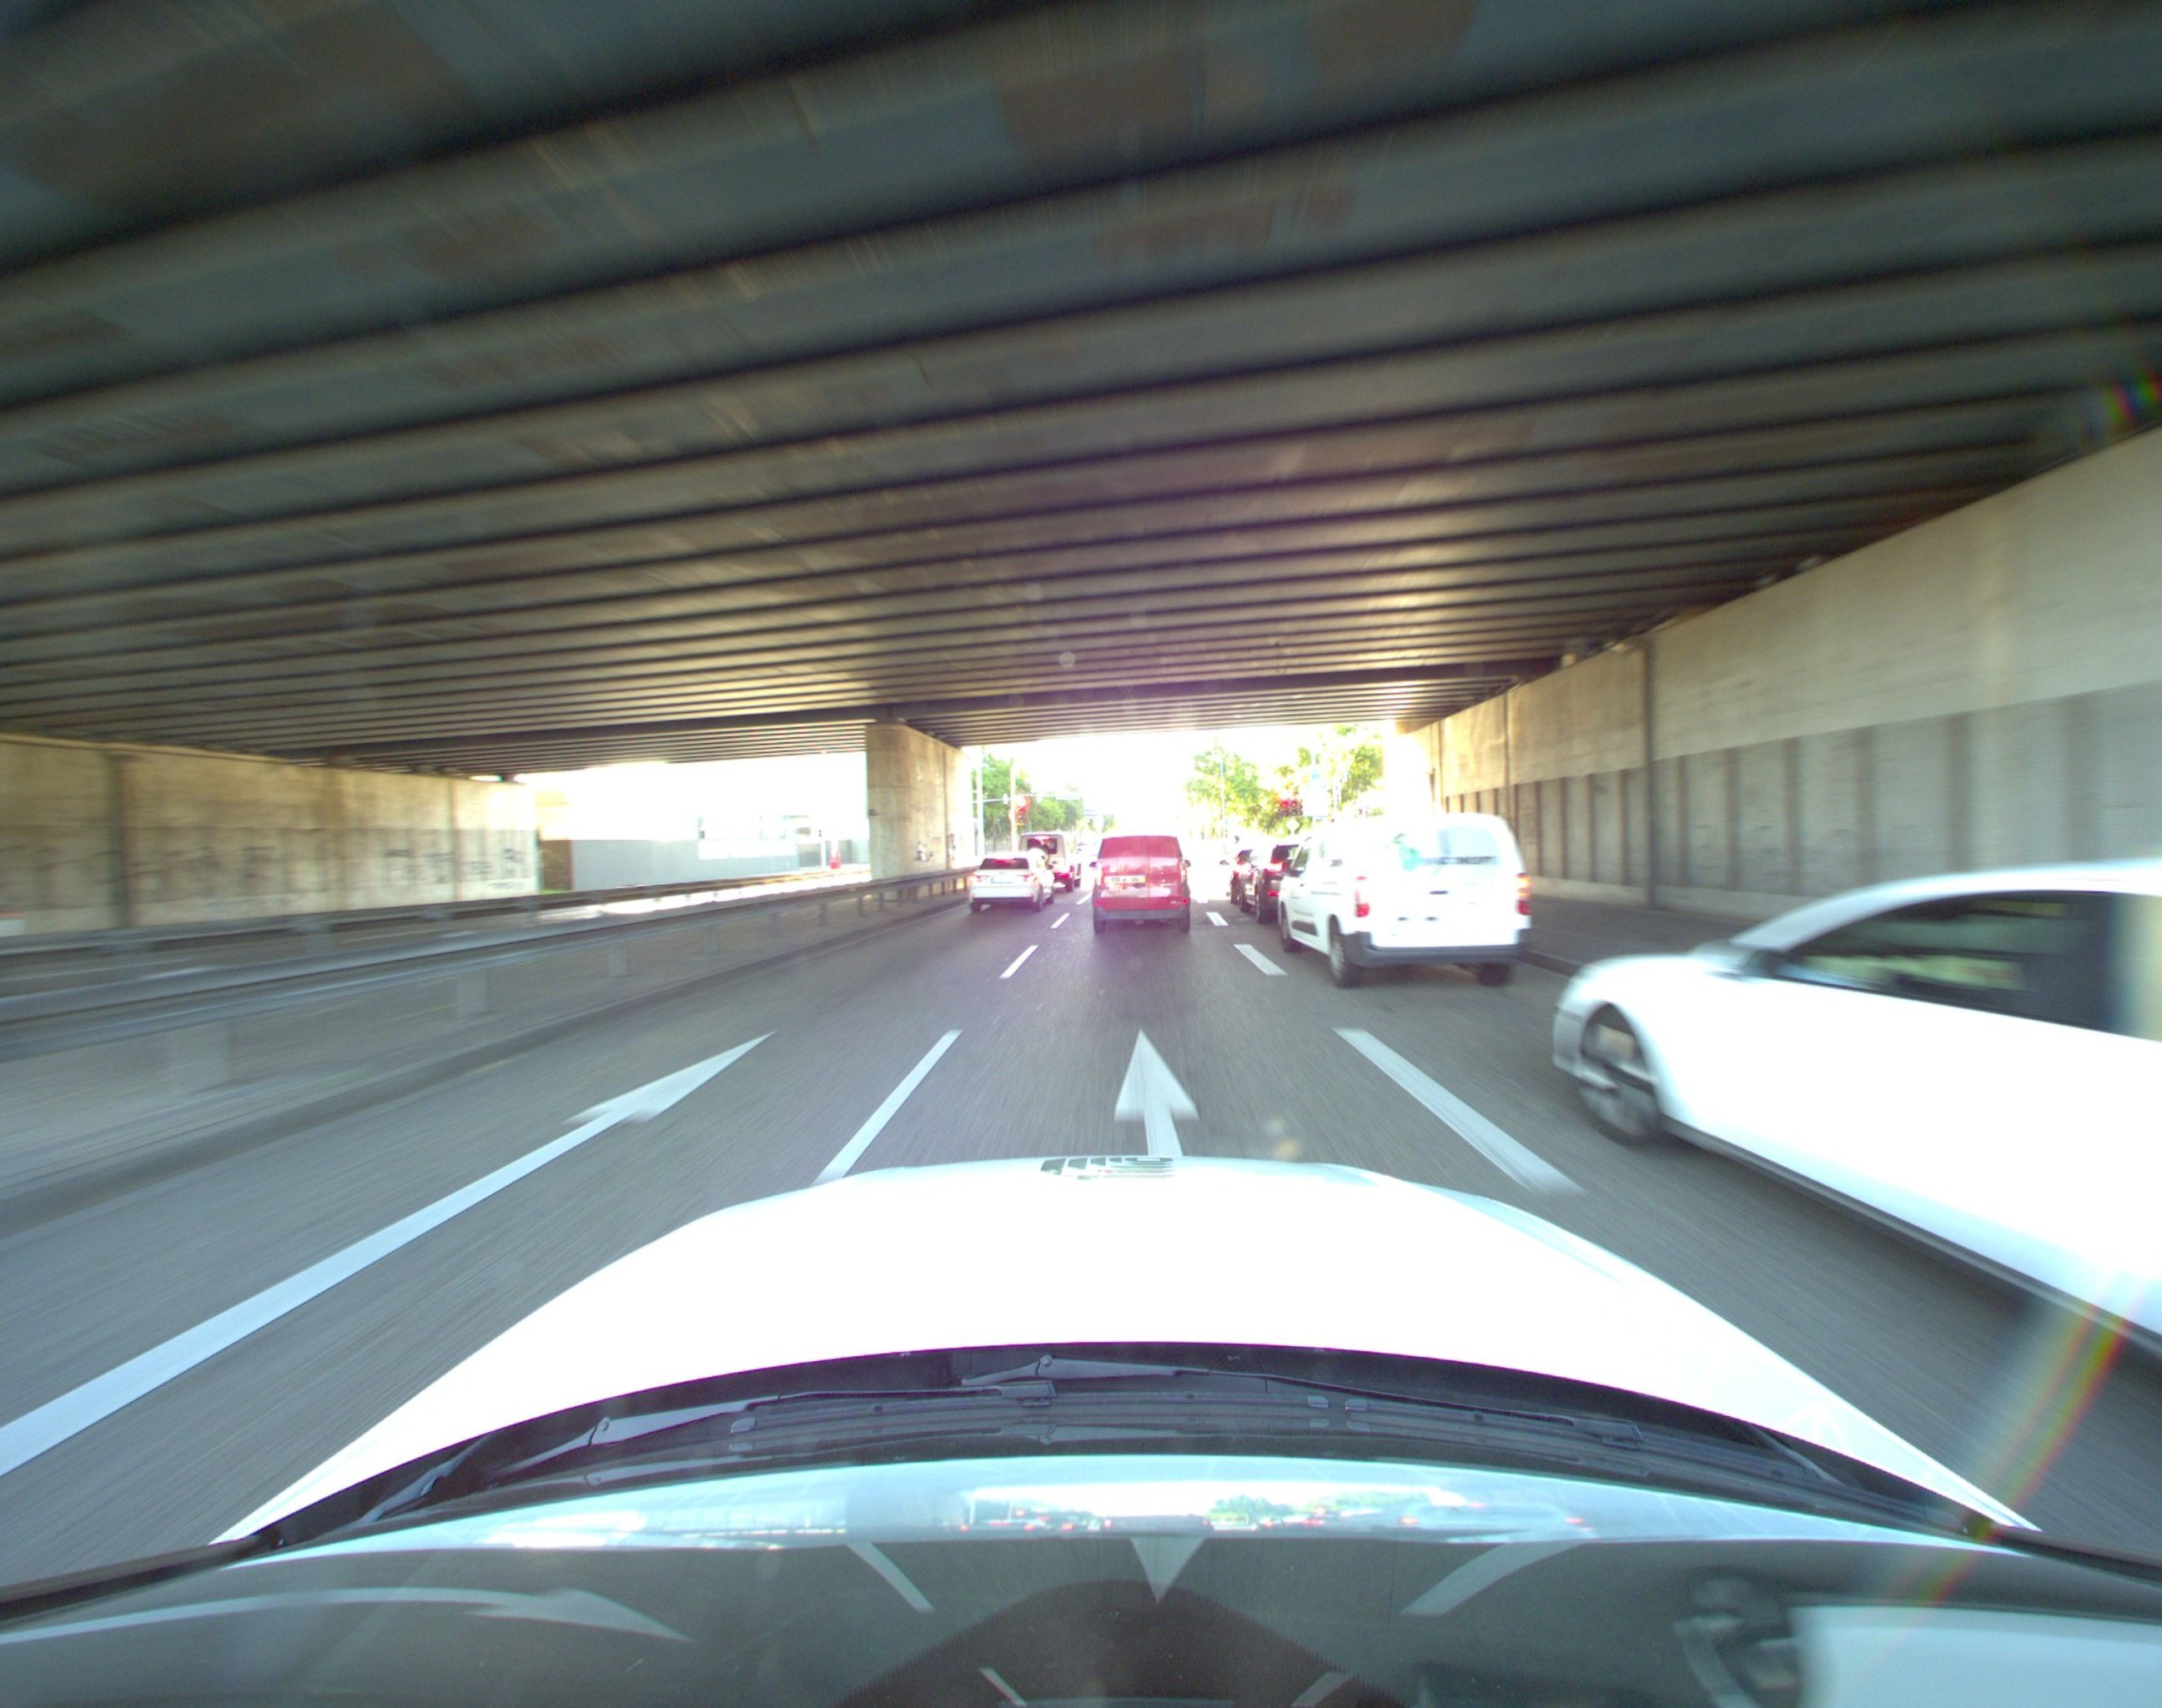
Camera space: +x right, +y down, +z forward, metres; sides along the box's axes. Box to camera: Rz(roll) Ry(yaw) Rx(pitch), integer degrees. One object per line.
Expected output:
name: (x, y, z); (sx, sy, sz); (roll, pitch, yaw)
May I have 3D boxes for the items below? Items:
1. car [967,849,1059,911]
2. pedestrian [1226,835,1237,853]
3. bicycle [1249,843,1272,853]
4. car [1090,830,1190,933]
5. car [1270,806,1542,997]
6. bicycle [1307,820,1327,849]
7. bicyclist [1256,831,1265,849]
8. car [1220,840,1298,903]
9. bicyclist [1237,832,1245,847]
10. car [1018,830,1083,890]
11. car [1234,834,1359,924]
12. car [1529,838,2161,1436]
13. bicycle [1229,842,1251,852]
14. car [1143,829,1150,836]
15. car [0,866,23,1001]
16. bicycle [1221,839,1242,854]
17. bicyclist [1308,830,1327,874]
car: (-1.644, 0.601, 20.889); (1.684, 1.410, 3.819); (-1, 0, 5)
pedestrian: (13.323, -0.874, 72.308); (0.834, 1.554, 0.556); (-1, 0, -2)
bicycle: (16.024, -0.534, 72.786); (1.941, 0.874, 0.701); (-1, 0, 9)
car: (1.195, 0.462, 16.119); (1.711, 1.764, 4.006); (-1, 0, 5)
car: (3.654, 0.445, 10.054); (1.806, 1.833, 4.303); (-1, 0, 3)
bicycle: (8.845, -0.721, 30.523); (0.672, 1.024, 1.535); (0, 0, 16)
bicyclist: (16.039, -1.240, 72.786); (0.750, 1.542, 0.698); (-1, 0, 10)
car: (4.786, 0.405, 22.386); (1.644, 1.552, 3.870); (0, 1, 5)
bicyclist: (14.642, -1.336, 74.566); (0.651, 1.329, 0.603); (0, 0, -1)
car: (-0.976, 0.177, 28.267); (1.805, 1.904, 3.818); (-1, 0, 4)
car: (4.345, 0.437, 16.975); (1.770, 1.655, 3.994); (0, 1, 3)
car: (3.513, 0.679, 2.543); (1.739, 1.456, 4.665); (-1, 0, 1)
bicycle: (14.554, -0.679, 74.530); (1.906, 0.867, 0.605); (-1, 0, 1)
car: (18.412, -6.090, 229.380); (1.984, 2.013, 4.005); (0, 0, 5)
car: (-13.820, 0.974, 7.754); (1.793, 1.606, 4.297); (-1, 0, 1)
bicycle: (13.355, -0.669, 72.310); (1.724, 1.233, 0.557); (-1, -1, -2)
bicyclist: (8.842, -0.069, 30.507); (0.672, 1.629, 0.646); (0, 0, 15)
